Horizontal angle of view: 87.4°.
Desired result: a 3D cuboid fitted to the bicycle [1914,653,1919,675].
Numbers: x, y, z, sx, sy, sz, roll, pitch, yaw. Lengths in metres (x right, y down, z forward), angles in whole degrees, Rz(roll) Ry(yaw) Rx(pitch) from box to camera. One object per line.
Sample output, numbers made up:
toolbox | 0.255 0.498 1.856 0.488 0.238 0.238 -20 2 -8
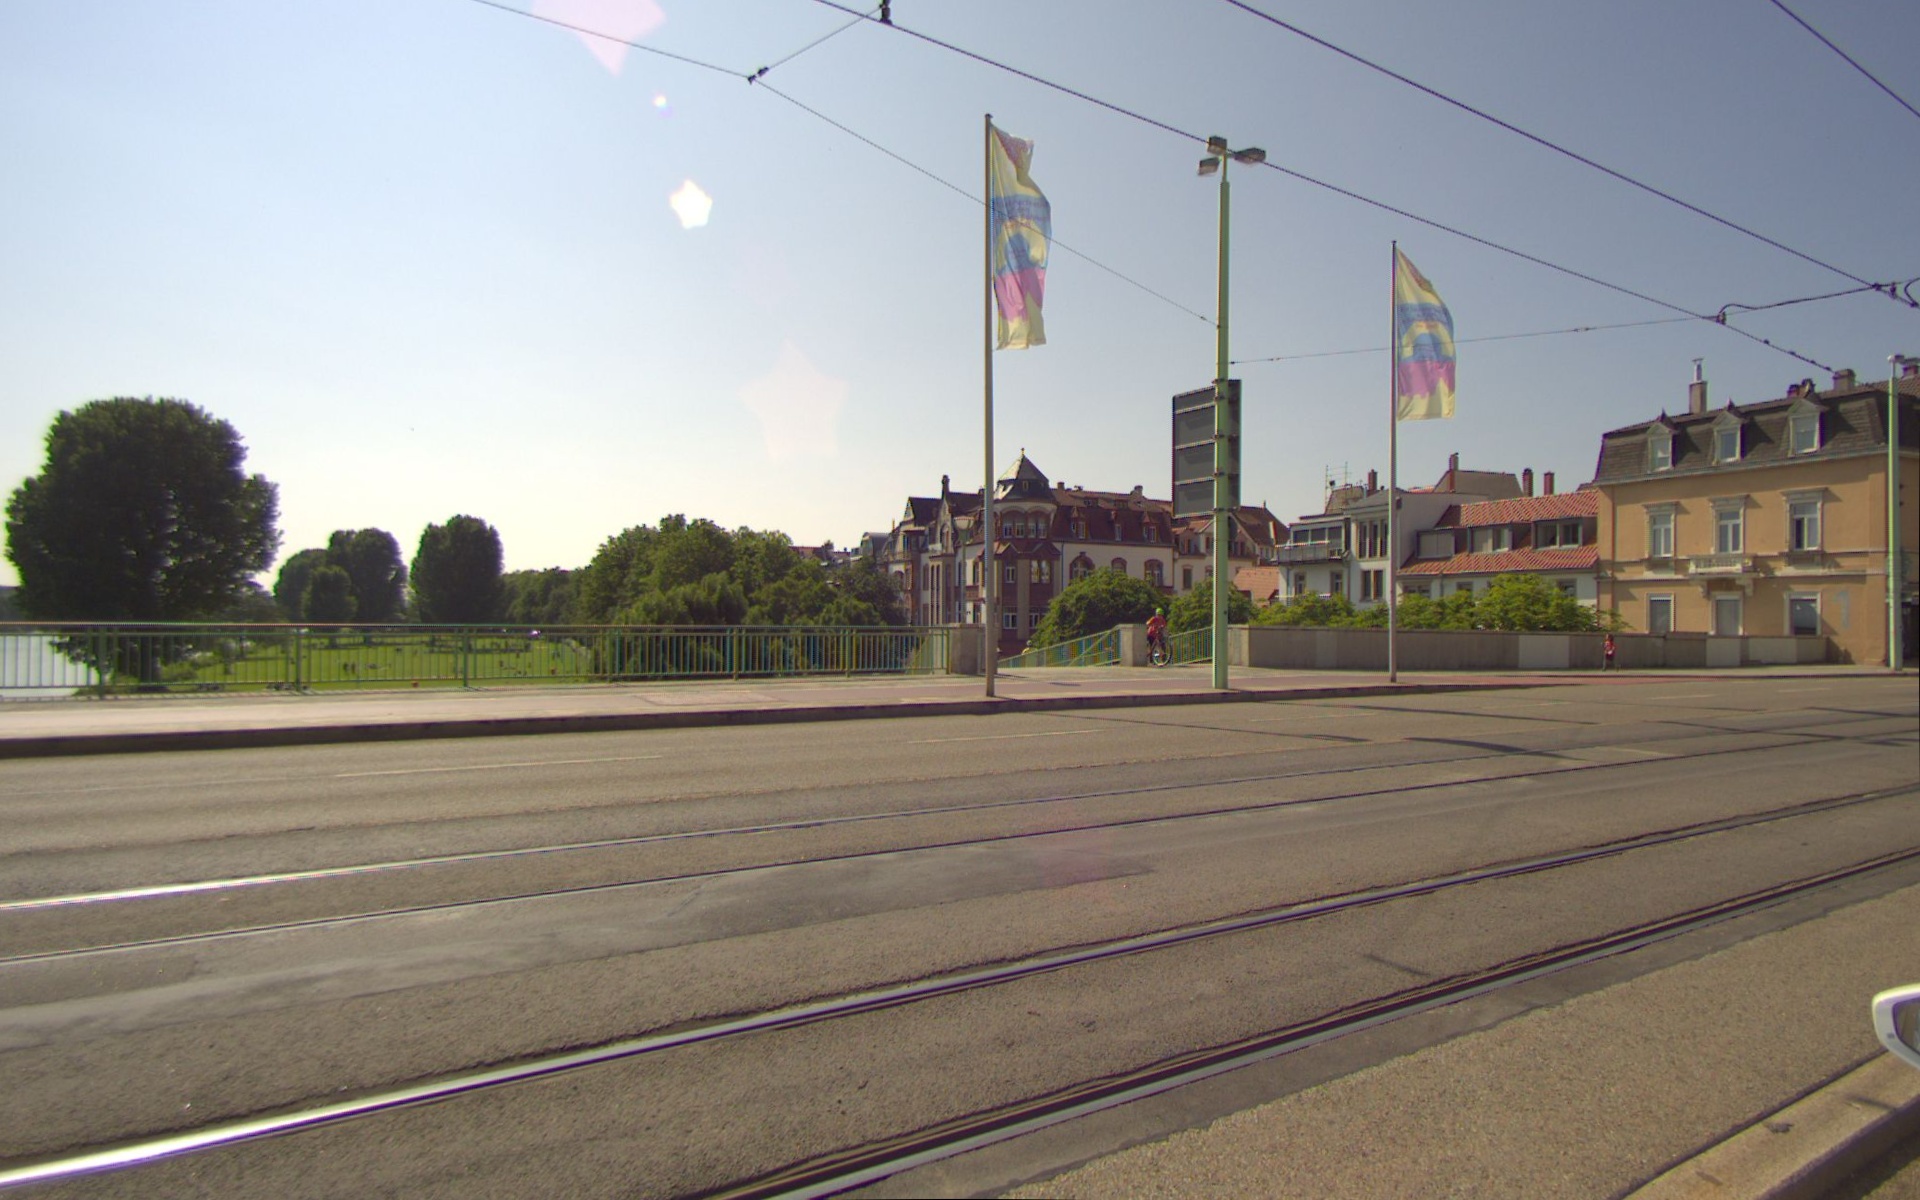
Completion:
bicycle | 32.483 2.129 33.407 1.750 0.726 0.617 0 1 -30

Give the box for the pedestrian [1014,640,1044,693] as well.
pedestrian | 2.436 2.319 35.247 0.791 1.804 0.743 1 -1 -25

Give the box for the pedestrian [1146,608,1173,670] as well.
pedestrian | 5.463 1.062 27.529 0.407 1.654 0.624 1 1 -23

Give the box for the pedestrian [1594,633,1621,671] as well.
pedestrian | 20.241 1.625 31.406 0.536 1.161 0.411 2 3 -22

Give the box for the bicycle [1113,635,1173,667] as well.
bicycle | 4.964 1.380 27.365 0.613 0.726 1.922 0 1 -24
